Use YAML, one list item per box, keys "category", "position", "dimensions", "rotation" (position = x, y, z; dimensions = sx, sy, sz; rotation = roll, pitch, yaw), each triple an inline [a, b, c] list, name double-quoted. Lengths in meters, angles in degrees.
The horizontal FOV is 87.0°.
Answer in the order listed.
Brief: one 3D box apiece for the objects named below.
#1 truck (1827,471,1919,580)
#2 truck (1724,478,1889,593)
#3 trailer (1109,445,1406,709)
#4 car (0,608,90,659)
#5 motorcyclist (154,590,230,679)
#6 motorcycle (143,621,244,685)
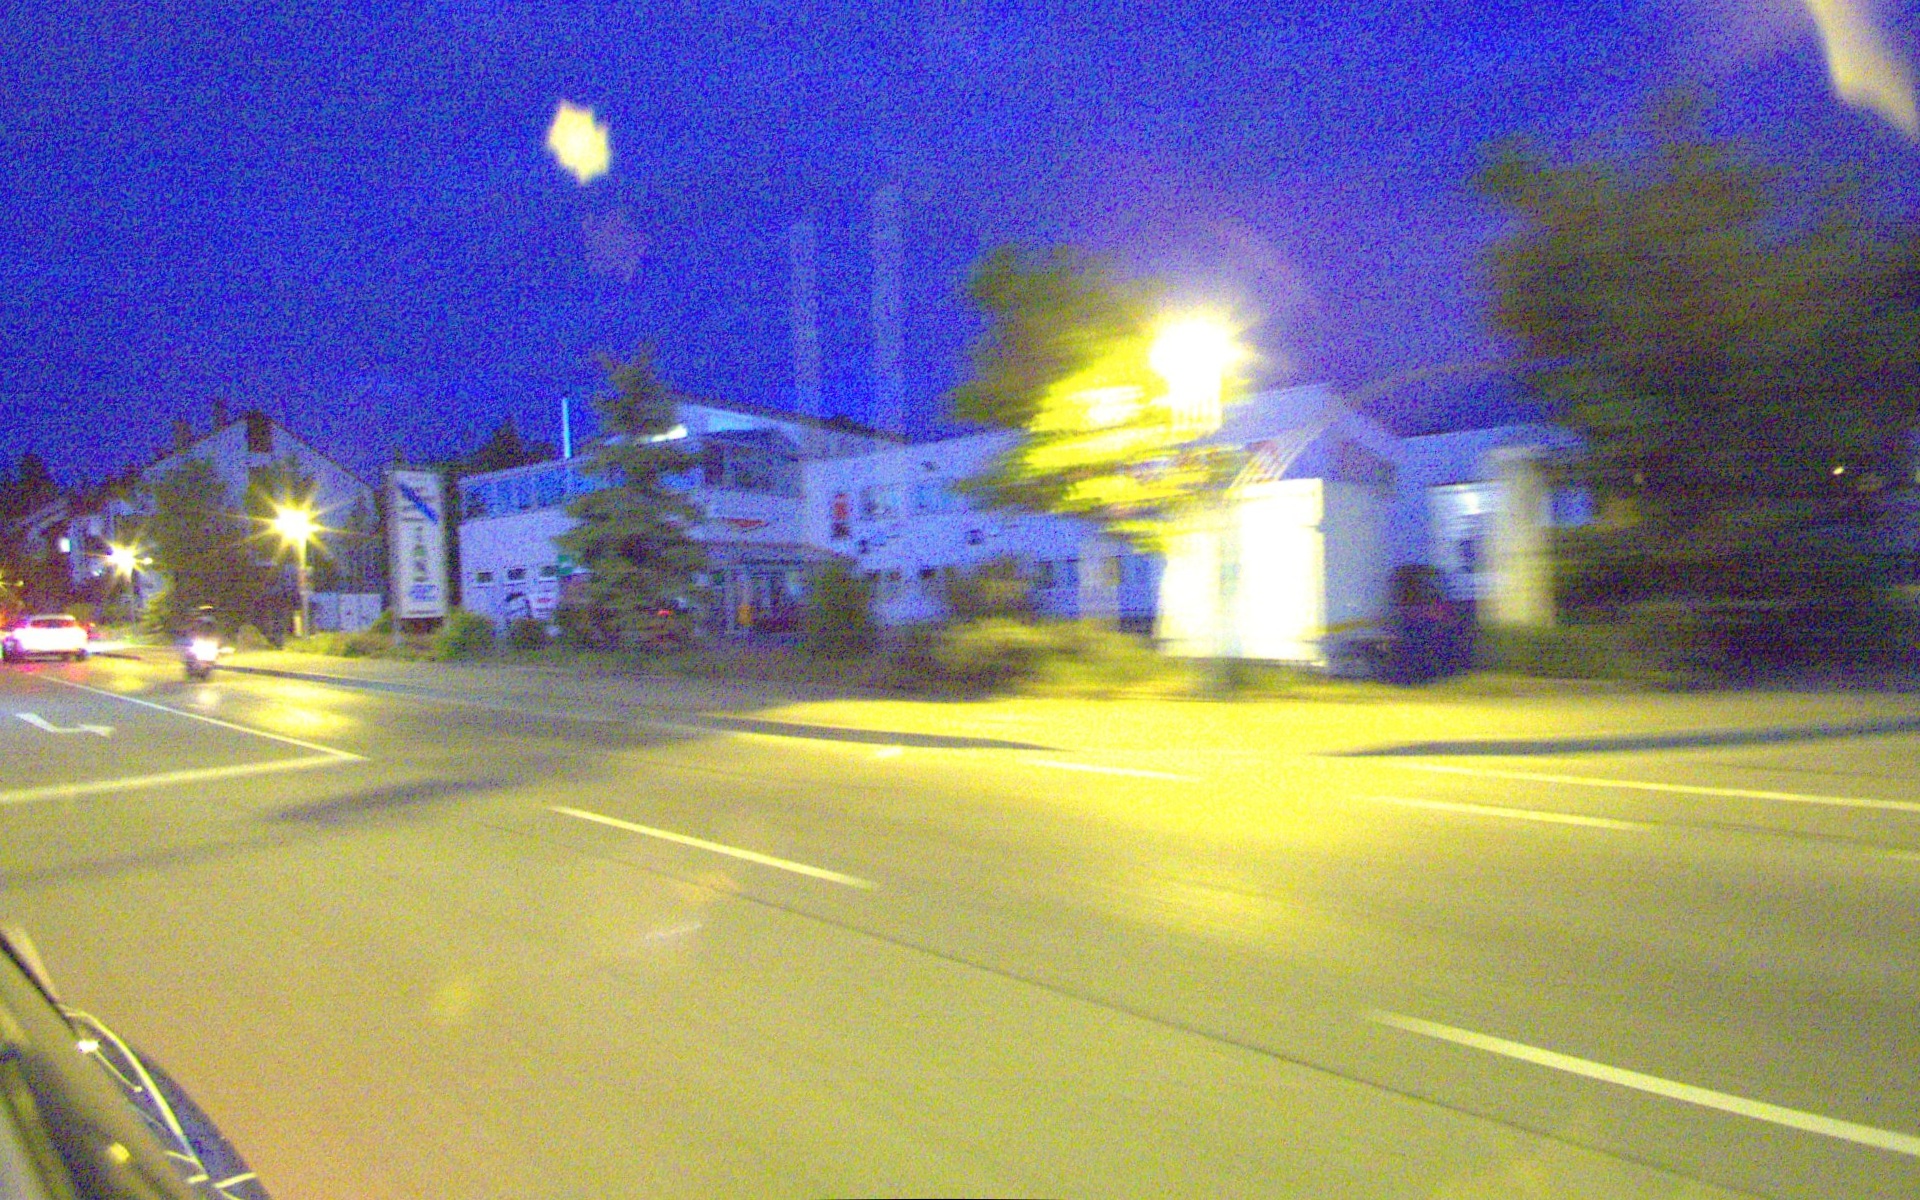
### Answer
- category: "truck"
  position: [45.266, -3.442, 46.515]
  dimensions: [3.459, 4.846, 17.259]
  rotation: [-2, 1, 25]
- category: "truck"
  position: [33.169, -2.273, 40.145]
  dimensions: [2.860, 3.754, 9.514]
  rotation: [-2, -2, 27]
- category: "trailer"
  position: [3.901, -0.204, 12.783]
  dimensions: [1.998, 2.741, 4.304]
  rotation: [-2, -2, 40]
- category: "car"
  position: [-32.514, 1.155, 35.752]
  dimensions: [4.749, 1.639, 1.973]
  rotation: [-1, 0, 41]
- category: "motorcyclist"
  position: [-17.096, 0.744, 22.541]
  dimensions: [0.831, 1.914, 1.124]
  rotation: [-1, 0, 35]
- category: "motorcycle"
  position: [-17.126, 1.148, 22.583]
  dimensions: [2.820, 1.314, 0.989]
  rotation: [-1, 0, 35]
